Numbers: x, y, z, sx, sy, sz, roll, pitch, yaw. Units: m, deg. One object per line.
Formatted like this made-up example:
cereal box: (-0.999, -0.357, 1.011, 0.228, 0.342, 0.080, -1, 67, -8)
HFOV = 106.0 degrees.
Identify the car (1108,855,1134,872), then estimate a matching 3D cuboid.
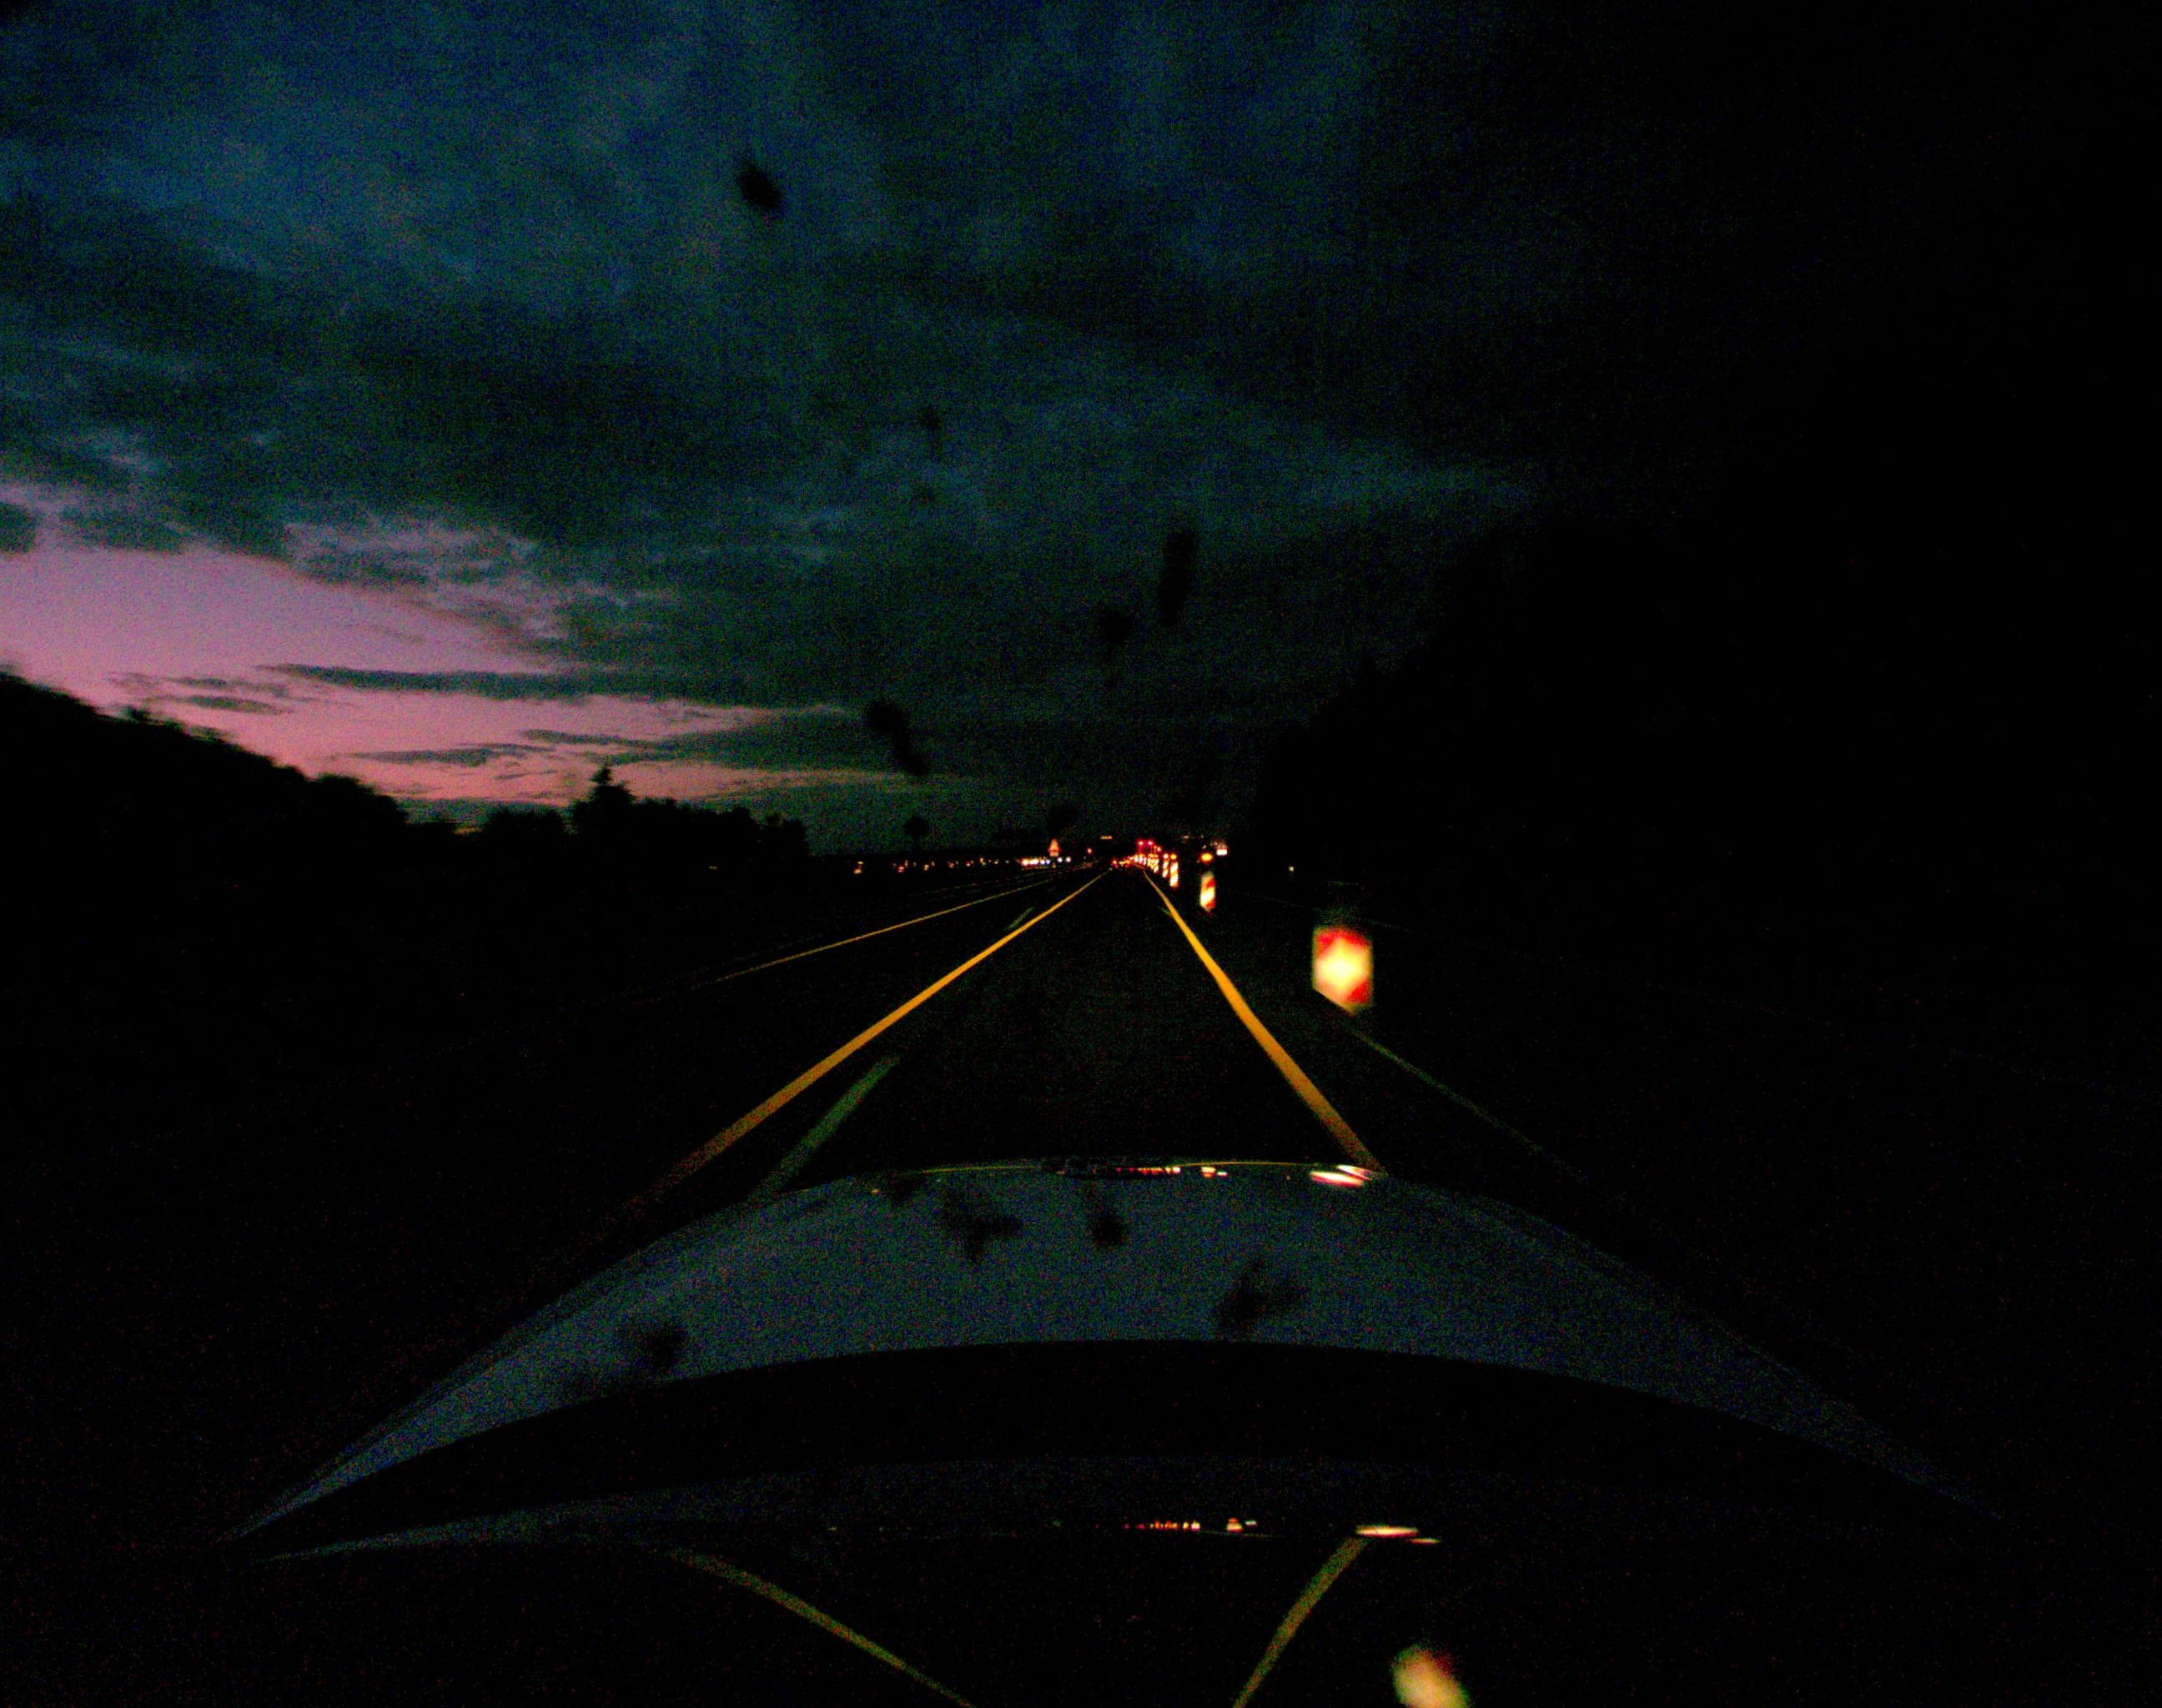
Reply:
car: (3.956, 0.938, 80.979, 2.259, 1.621, 3.997, 0, 0, -2)

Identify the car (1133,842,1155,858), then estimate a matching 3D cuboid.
car: (13.409, -0.836, 174.103, 3.598, 3.395, 8.003, -2, 0, -4)

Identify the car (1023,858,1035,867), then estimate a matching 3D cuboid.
car: (-9.870, 1.587, 154.700, 1.985, 1.828, 4.003, 0, 0, 3)

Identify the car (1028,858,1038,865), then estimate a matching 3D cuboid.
car: (-11.338, 1.837, 192.465, 1.756, 1.548, 4.428, 0, 0, 3)

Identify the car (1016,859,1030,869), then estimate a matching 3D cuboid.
car: (-10.433, 1.816, 147.316, 1.985, 1.714, 4.003, 0, 0, 3)

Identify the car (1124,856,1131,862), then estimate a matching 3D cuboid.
car: (14.619, 1.561, 256.235, 1.985, 2.014, 4.002, 0, 0, 2)
